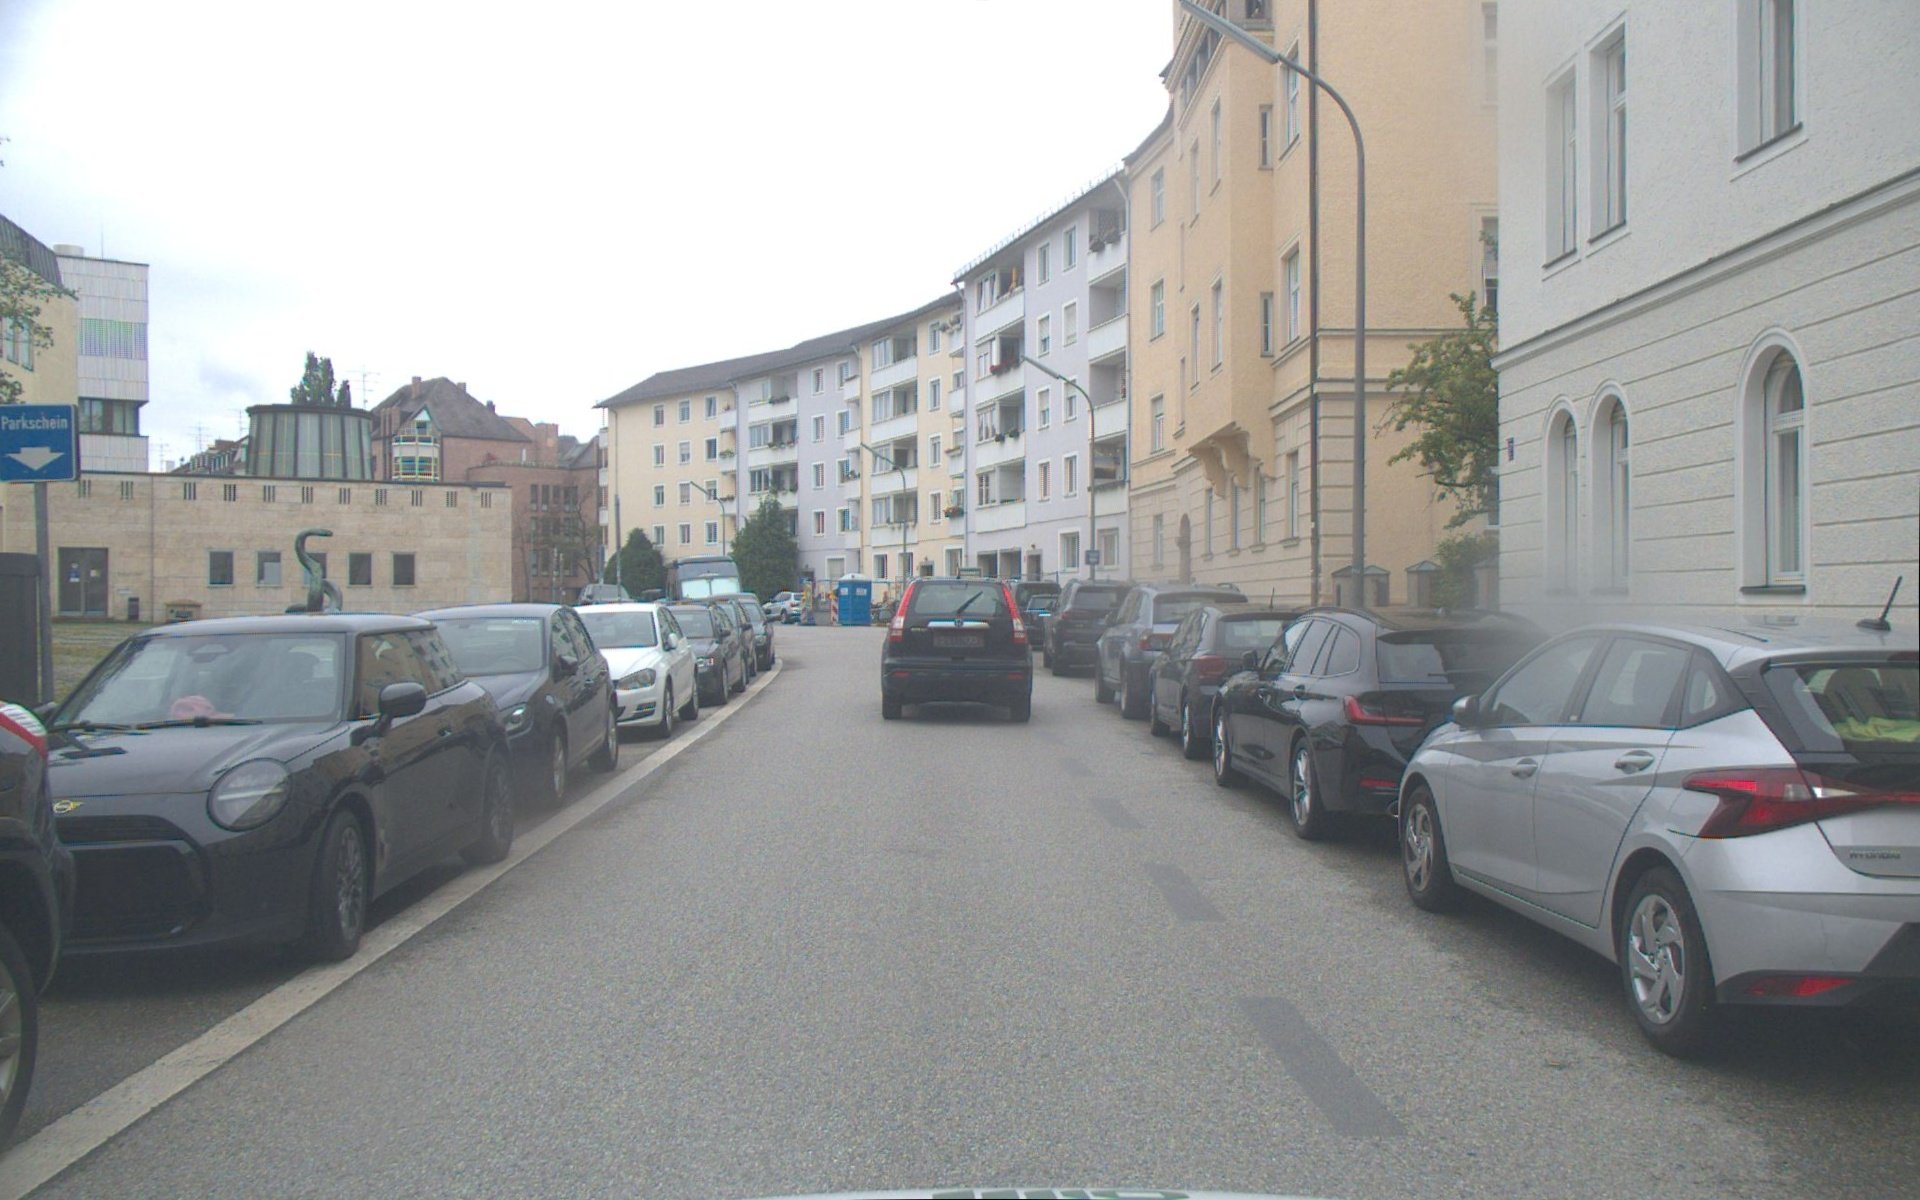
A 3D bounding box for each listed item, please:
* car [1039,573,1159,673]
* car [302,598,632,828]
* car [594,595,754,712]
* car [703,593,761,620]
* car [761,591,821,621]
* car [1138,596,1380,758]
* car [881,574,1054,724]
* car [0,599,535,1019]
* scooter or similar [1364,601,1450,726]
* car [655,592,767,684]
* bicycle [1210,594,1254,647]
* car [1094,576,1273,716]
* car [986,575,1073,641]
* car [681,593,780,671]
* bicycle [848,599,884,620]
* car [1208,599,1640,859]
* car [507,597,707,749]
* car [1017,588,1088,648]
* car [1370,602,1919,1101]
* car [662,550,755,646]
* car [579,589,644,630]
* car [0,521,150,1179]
[{"bbox_3d":[2.599,0.406,31.902,1.831,1.747,4.865,1,0,-1],"label":"car"},{"bbox_3d":[-3.738,0.762,13.225,1.624,1.479,3.971,-2,0,-4],"label":"car"},{"bbox_3d":[-4.077,0.698,24.182,1.720,1.479,4.394,-2,0,-3],"label":"car"},{"bbox_3d":[-12.998,0.365,94.184,1.709,1.509,3.952,0,0,-34],"label":"car"},{"bbox_3d":[-8.739,0.284,85.399,1.705,1.509,3.962,0,0,-28],"label":"car"},{"bbox_3d":[2.908,0.689,16.910,1.645,1.452,4.086,0,0,-1],"label":"car"},{"bbox_3d":[-0.006,0.542,20.592,1.854,1.676,3.988,0,0,-4],"label":"car"},{"bbox_3d":[-3.356,0.774,7.993,1.646,1.479,3.869,-2,0,-2],"label":"car"},{"bbox_3d":[4.378,0.604,16.249,0.475,1.184,1.171,0,-1,-3],"label":"scooter or similar"},{"bbox_3d":[-4.340,0.624,29.237,1.624,1.479,3.310,-2,0,-4],"label":"car"},{"bbox_3d":[6.037,0.434,36.778,0.567,1.101,1.953,-3,1,-1],"label":"bicycle"},{"bbox_3d":[2.848,0.546,21.974,1.687,1.663,4.456,0,0,-1],"label":"car"},{"bbox_3d":[2.011,0.212,48.966,1.745,1.838,4.267,1,0,-9],"label":"car"},{"bbox_3d":[-4.658,0.611,34.059,1.764,1.430,4.450,-2,0,-5],"label":"car"},{"bbox_3d":[-5.011,0.488,88.375,1.840,1.110,0.561,0,0,-23],"label":"bicycle"},{"bbox_3d":[2.965,0.727,11.569,1.645,1.452,4.389,0,0,-2],"label":"car"},{"bbox_3d":[-3.931,0.739,19.017,1.624,1.479,4.070,-2,0,-4],"label":"car"},{"bbox_3d":[2.404,0.456,43.894,1.673,1.472,3.830,1,0,0],"label":"car"},{"bbox_3d":[3.144,0.743,6.992,1.645,1.452,4.165,0,0,-2],"label":"car"},{"bbox_3d":[-7.711,-0.091,50.187,2.128,2.688,5.994,-2,1,-15],"label":"car"},{"bbox_3d":[-15.218,0.396,72.032,1.659,1.737,4.473,0,0,-27],"label":"car"},{"bbox_3d":[-3.326,0.700,2.809,1.709,1.695,4.447,-4,0,-2],"label":"car"}]
